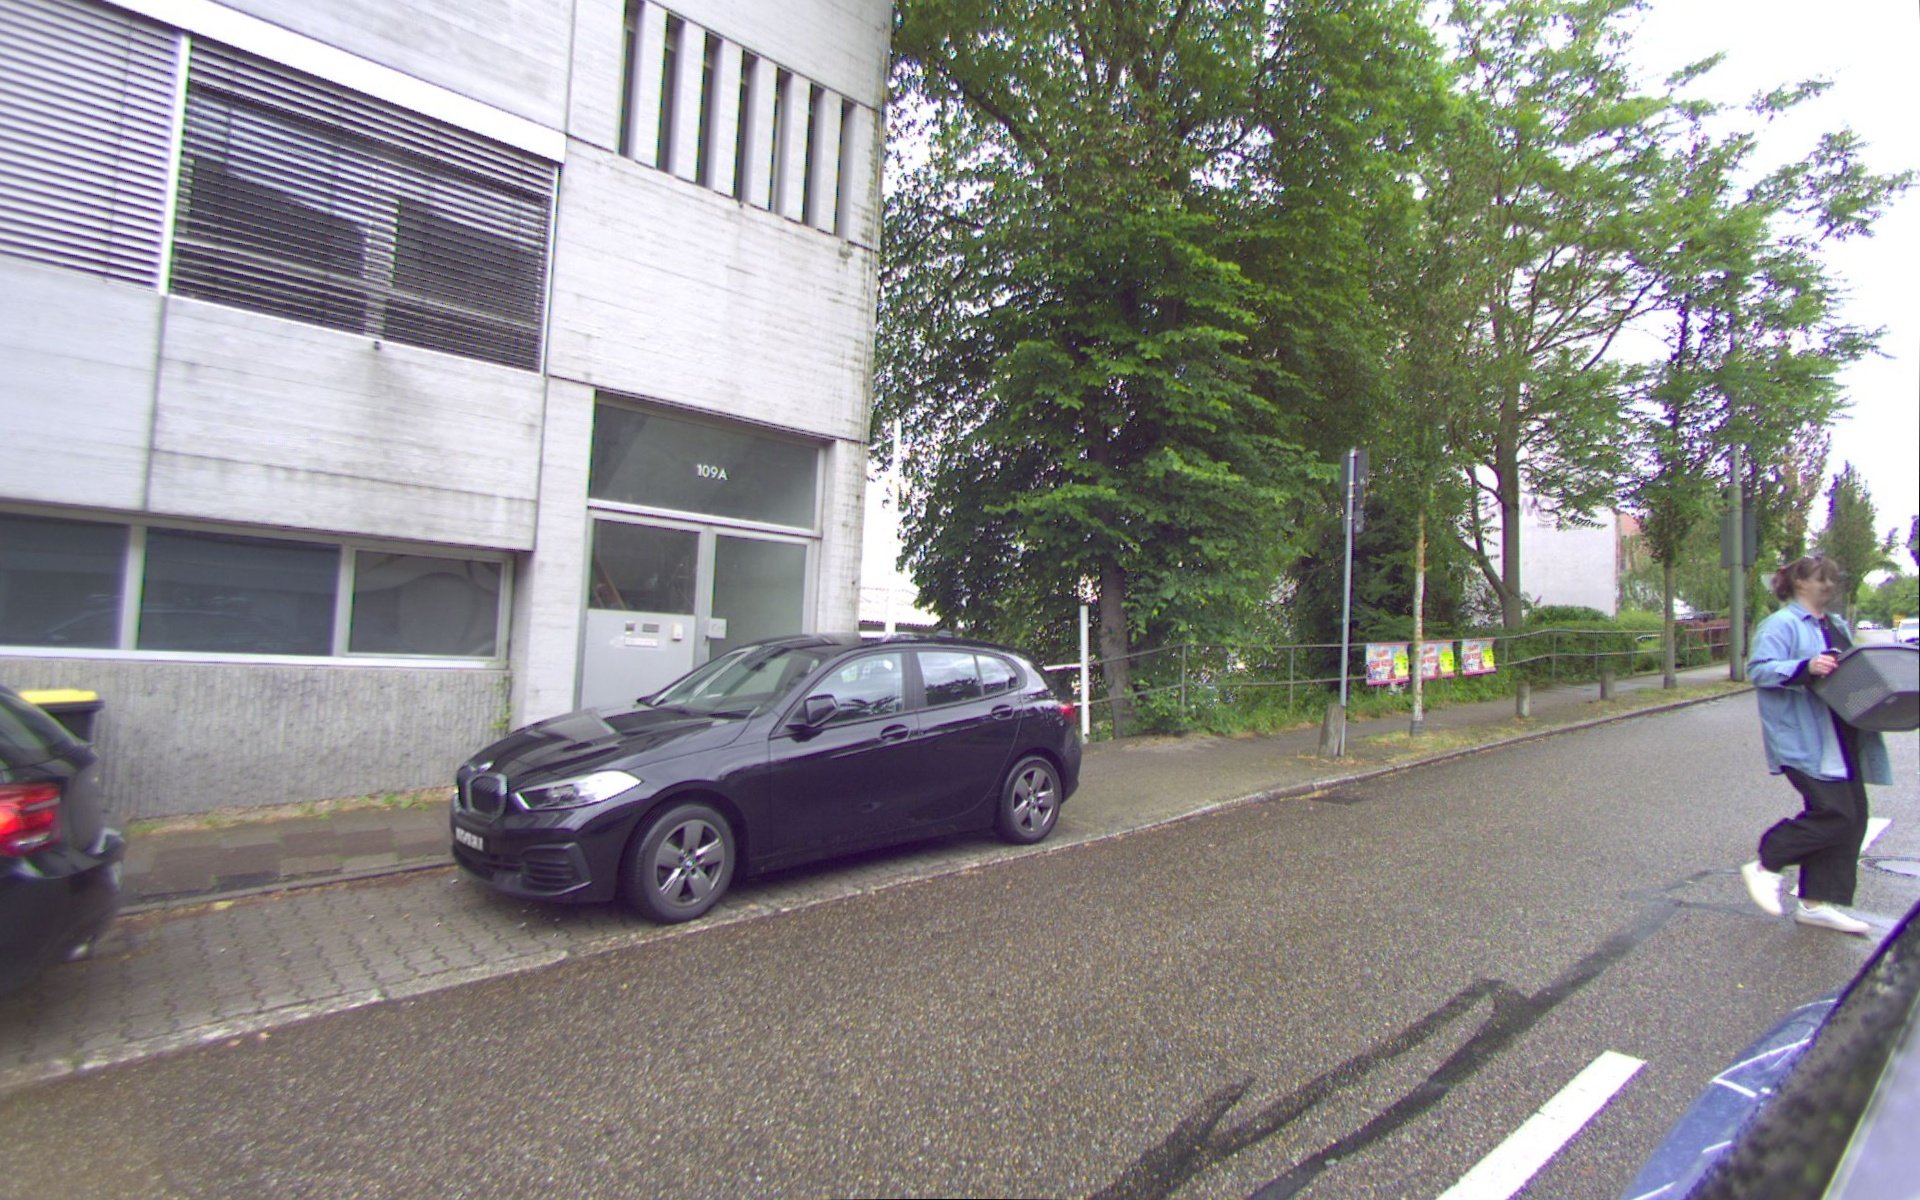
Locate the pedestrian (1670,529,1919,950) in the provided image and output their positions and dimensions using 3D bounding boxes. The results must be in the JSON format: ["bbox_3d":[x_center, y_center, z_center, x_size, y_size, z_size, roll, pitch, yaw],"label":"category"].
[{"bbox_3d":[4.312,0.605,4.922,0.807,1.805,1.075,-1,-2,-22],"label":"pedestrian"}]

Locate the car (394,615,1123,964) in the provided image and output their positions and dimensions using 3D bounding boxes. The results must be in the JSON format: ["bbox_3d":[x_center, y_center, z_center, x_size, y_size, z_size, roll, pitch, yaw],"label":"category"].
[{"bbox_3d":[-1.074,0.878,6.738,4.367,1.453,1.996,0,1,-43],"label":"car"}]

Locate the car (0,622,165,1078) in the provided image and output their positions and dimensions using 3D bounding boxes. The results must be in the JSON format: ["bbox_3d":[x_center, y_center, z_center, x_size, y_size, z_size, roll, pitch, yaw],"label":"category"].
[{"bbox_3d":[-5.051,0.848,3.024,4.173,1.466,1.753,0,0,-38],"label":"car"}]

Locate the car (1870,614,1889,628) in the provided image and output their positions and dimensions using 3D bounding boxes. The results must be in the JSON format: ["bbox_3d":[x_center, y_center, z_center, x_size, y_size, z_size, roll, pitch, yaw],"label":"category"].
[{"bbox_3d":[133.791,3.042,147.233,1.887,1.741,4.171,2,2,43],"label":"car"}]

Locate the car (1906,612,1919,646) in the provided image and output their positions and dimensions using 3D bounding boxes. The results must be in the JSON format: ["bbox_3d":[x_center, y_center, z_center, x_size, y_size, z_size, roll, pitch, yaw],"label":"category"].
[{"bbox_3d":[50.208,1.467,52.268,1.828,1.638,4.286,-1,0,41],"label":"car"}]
